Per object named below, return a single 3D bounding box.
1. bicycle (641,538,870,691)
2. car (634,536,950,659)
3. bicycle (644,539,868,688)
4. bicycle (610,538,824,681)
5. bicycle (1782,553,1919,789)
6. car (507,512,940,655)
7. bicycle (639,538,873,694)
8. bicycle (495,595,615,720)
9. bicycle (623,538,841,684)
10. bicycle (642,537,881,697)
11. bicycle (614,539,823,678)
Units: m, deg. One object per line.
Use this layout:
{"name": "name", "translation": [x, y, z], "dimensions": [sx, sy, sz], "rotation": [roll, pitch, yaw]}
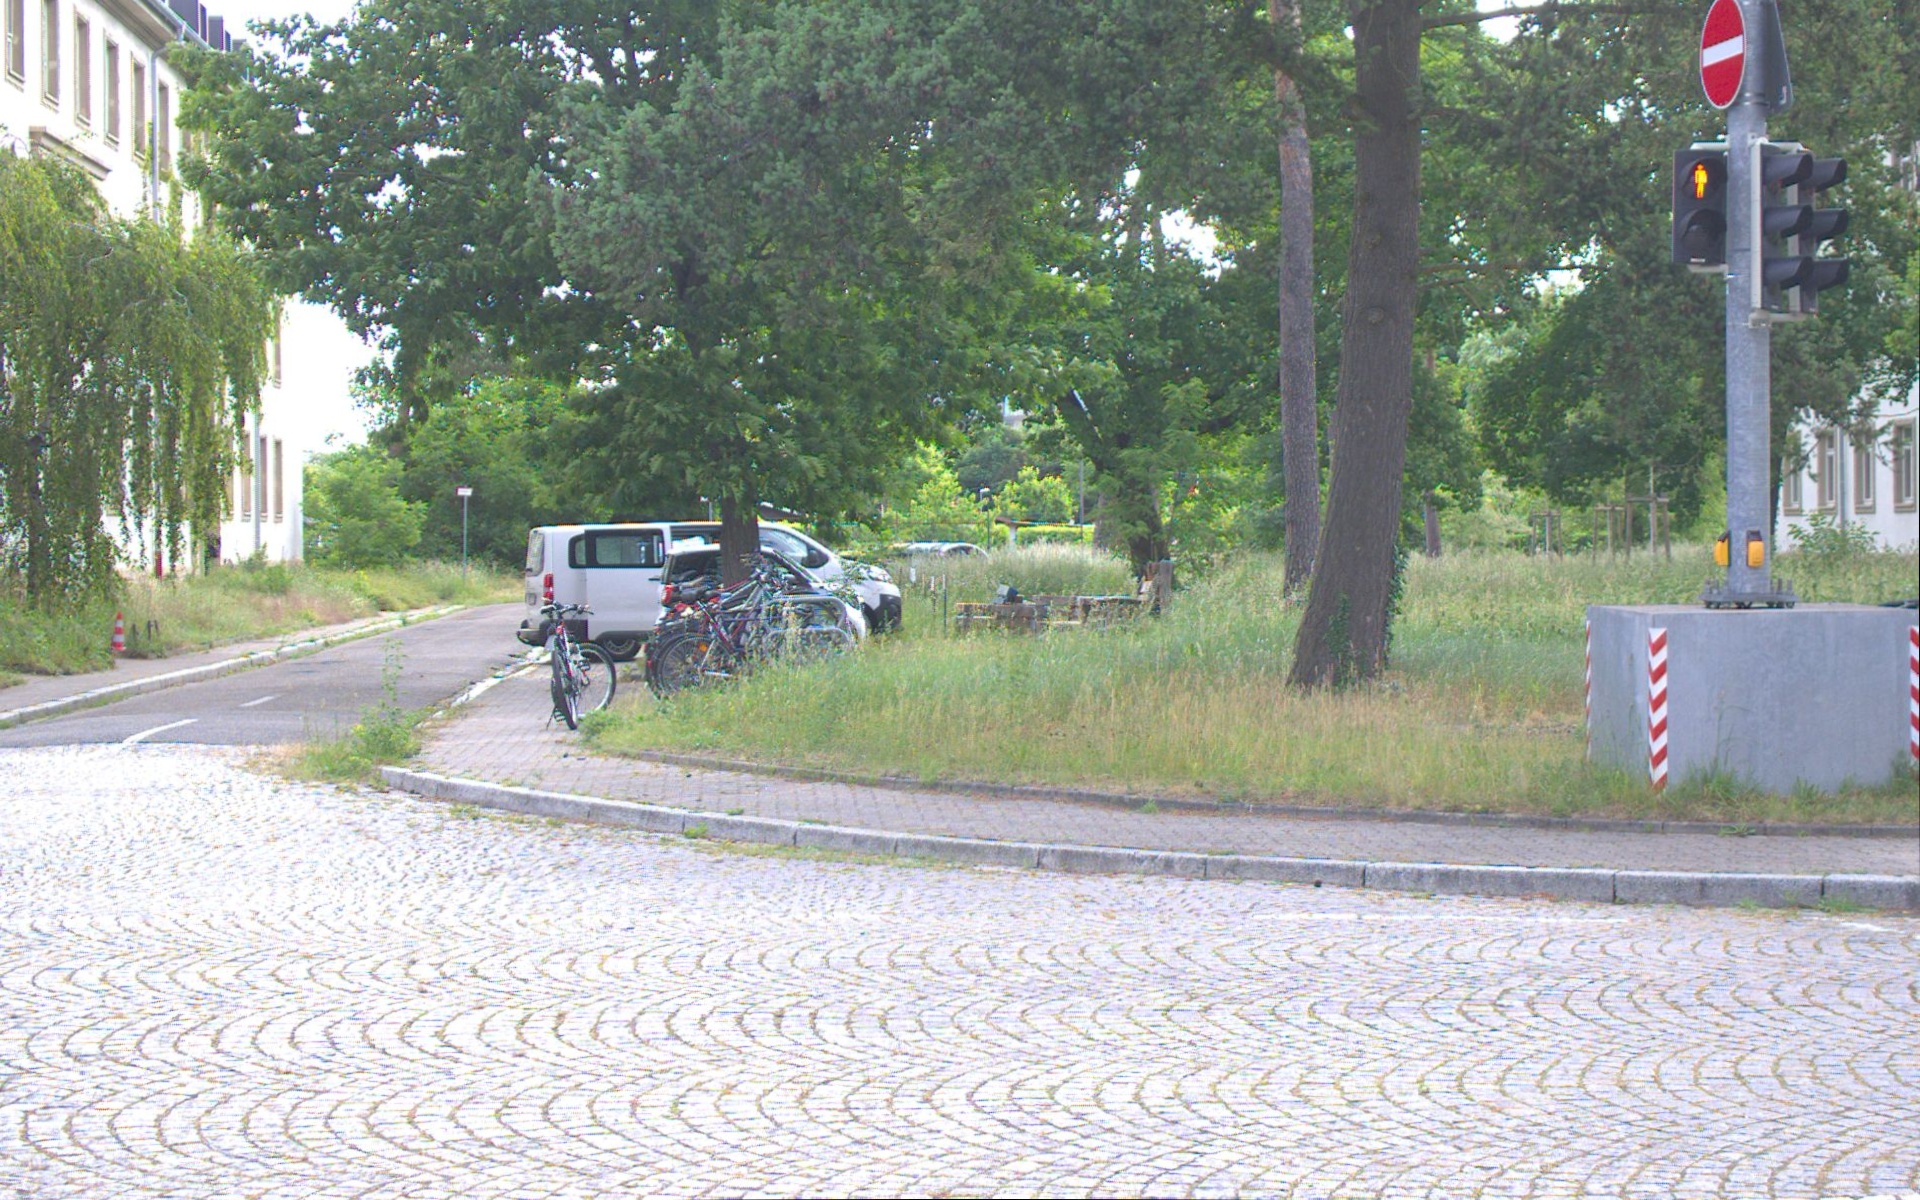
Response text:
{"name": "bicycle", "translation": [-1.866, 0.124, 31.486], "dimensions": [2.069, 1.373, 0.620], "rotation": [0, 1, -3]}
{"name": "car", "translation": [-2.216, -0.054, 44.712], "dimensions": [3.931, 1.539, 2.001], "rotation": [0, 1, -8]}
{"name": "bicycle", "translation": [-1.908, 0.115, 32.282], "dimensions": [2.069, 1.373, 0.620], "rotation": [0, 1, -3]}
{"name": "bicycle", "translation": [-2.382, 0.087, 33.796], "dimensions": [2.069, 1.373, 0.620], "rotation": [0, 1, -3]}
{"name": "bicycle", "translation": [5.108, 0.344, 18.259], "dimensions": [0.908, 1.173, 1.875], "rotation": [0, 1, -4]}
{"name": "car", "translation": [-3.321, -0.256, 48.028], "dimensions": [5.690, 1.904, 2.231], "rotation": [-1, 1, -15]}
{"name": "bicycle", "translation": [-1.823, 0.131, 30.863], "dimensions": [2.069, 1.373, 0.620], "rotation": [0, 1, -3]}
{"name": "bicycle", "translation": [-3.318, 0.456, 28.320], "dimensions": [0.618, 0.960, 2.076], "rotation": [0, 1, 3]}
{"name": "bicycle", "translation": [-2.184, 0.099, 33.068], "dimensions": [2.069, 1.373, 0.620], "rotation": [0, 1, -3]}
{"name": "bicycle", "translation": [-1.737, 0.141, 30.196], "dimensions": [2.069, 1.373, 0.620], "rotation": [0, 1, -3]}
{"name": "bicycle", "translation": [-2.414, 0.080, 34.543], "dimensions": [2.069, 1.373, 0.620], "rotation": [0, 1, -3]}
